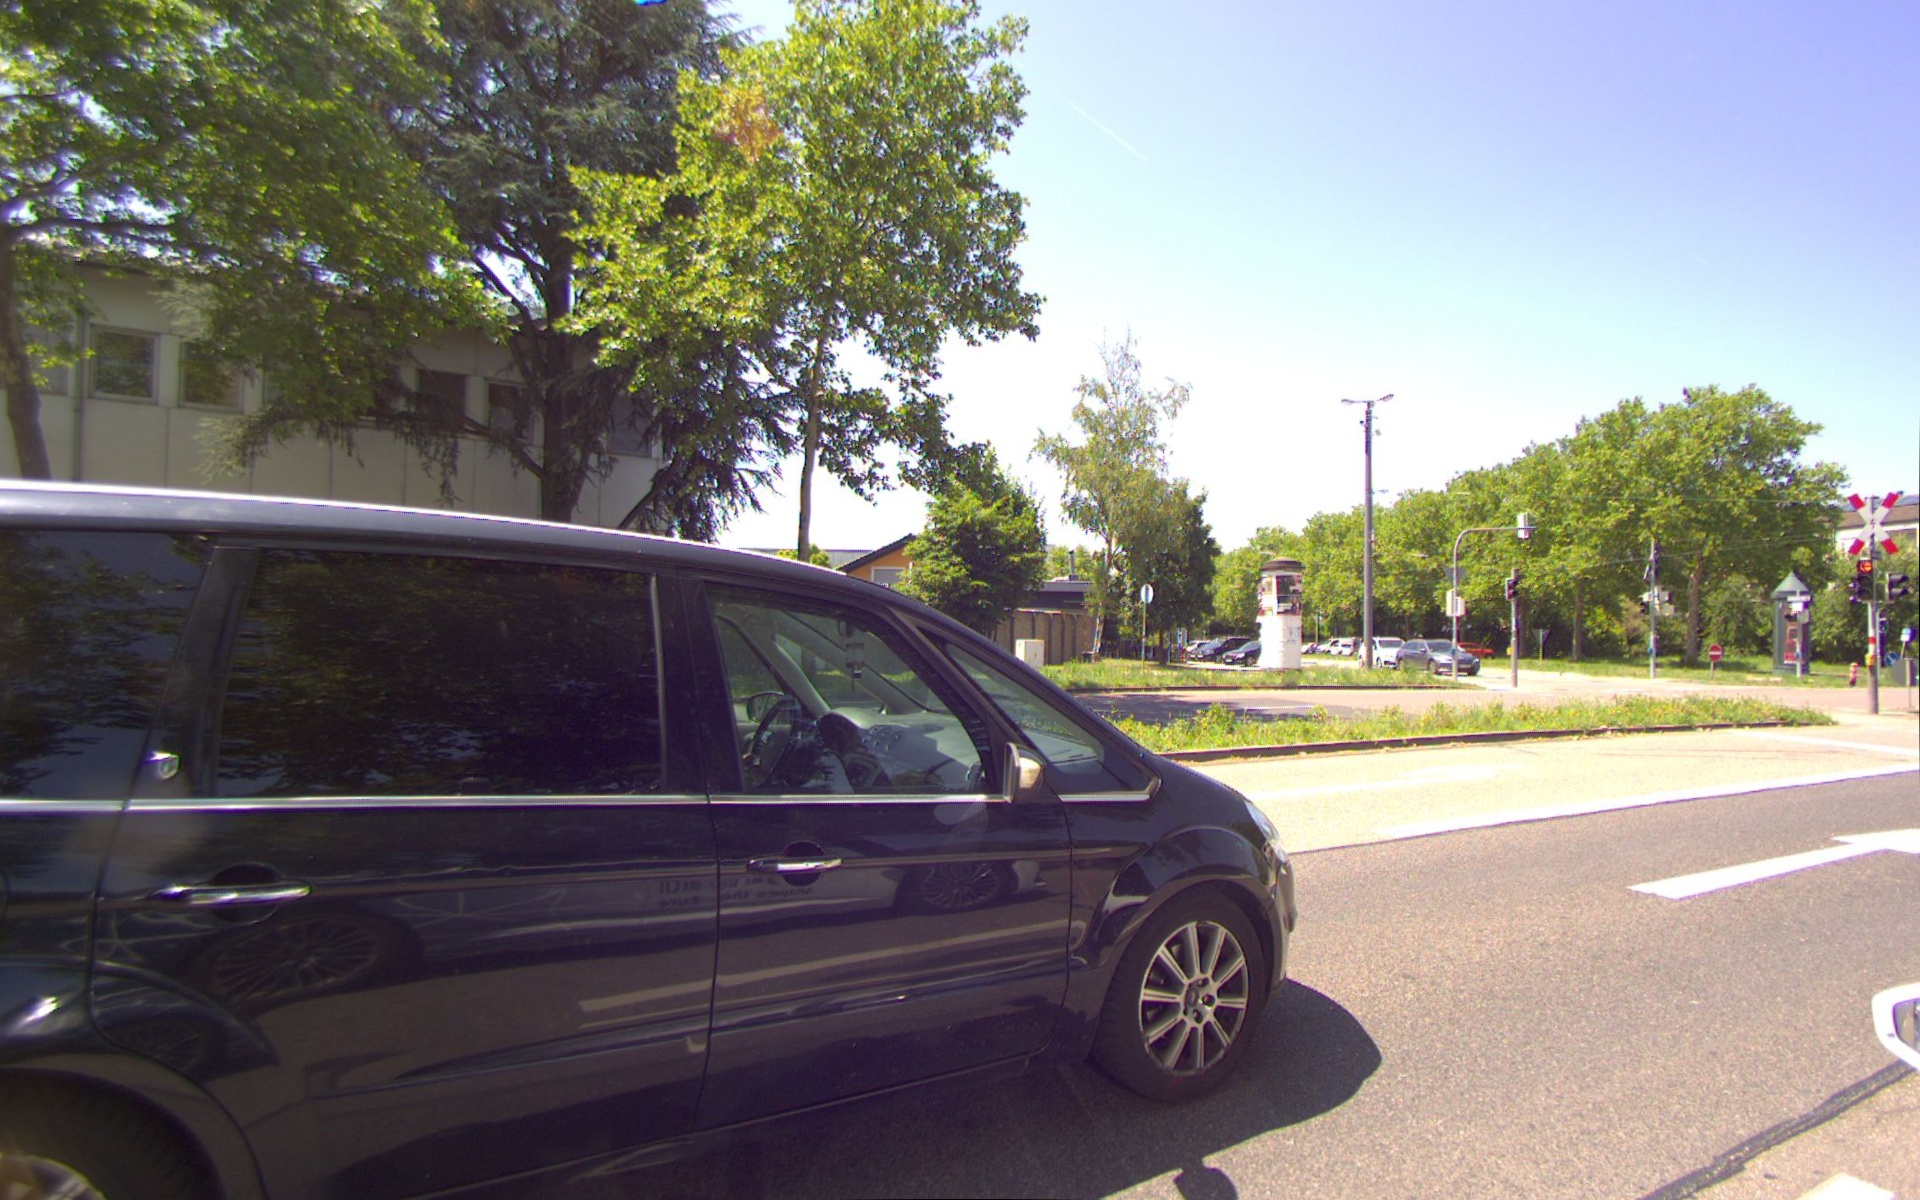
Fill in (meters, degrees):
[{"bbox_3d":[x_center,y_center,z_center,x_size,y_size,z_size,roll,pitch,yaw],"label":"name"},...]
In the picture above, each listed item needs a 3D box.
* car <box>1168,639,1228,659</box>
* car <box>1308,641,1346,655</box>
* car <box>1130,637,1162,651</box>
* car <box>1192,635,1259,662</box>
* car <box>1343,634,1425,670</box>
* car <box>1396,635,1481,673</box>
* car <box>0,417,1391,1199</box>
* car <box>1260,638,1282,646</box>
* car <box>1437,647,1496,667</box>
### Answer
[{"bbox_3d":[17.659,3.644,74.446,4.007,1.442,1.935,2,-2,-26],"label":"car"},{"bbox_3d":[38.844,5.100,106.252,3.482,1.415,1.499,1,-2,-4],"label":"car"},{"bbox_3d":[16.349,3.870,88.385,2.851,1.221,1.175,2,-2,-37],"label":"car"},{"bbox_3d":[17.340,3.150,65.552,4.141,1.672,1.771,2,-2,-28],"label":"car"},{"bbox_3d":[20.696,2.498,49.206,2.173,1.626,4.462,1,-2,1],"label":"car"},{"bbox_3d":[20.129,2.255,42.447,1.729,1.476,3.994,1,-2,1],"label":"car"},{"bbox_3d":[-0.918,0.634,3.132,4.596,1.779,1.844,2,-1,-31],"label":"car"},{"bbox_3d":[41.758,5.672,134.728,2.668,1.007,1.009,1,-2,-3],"label":"car"},{"bbox_3d":[41.041,4.644,81.475,4.058,1.415,1.458,2,0,-4],"label":"car"}]
